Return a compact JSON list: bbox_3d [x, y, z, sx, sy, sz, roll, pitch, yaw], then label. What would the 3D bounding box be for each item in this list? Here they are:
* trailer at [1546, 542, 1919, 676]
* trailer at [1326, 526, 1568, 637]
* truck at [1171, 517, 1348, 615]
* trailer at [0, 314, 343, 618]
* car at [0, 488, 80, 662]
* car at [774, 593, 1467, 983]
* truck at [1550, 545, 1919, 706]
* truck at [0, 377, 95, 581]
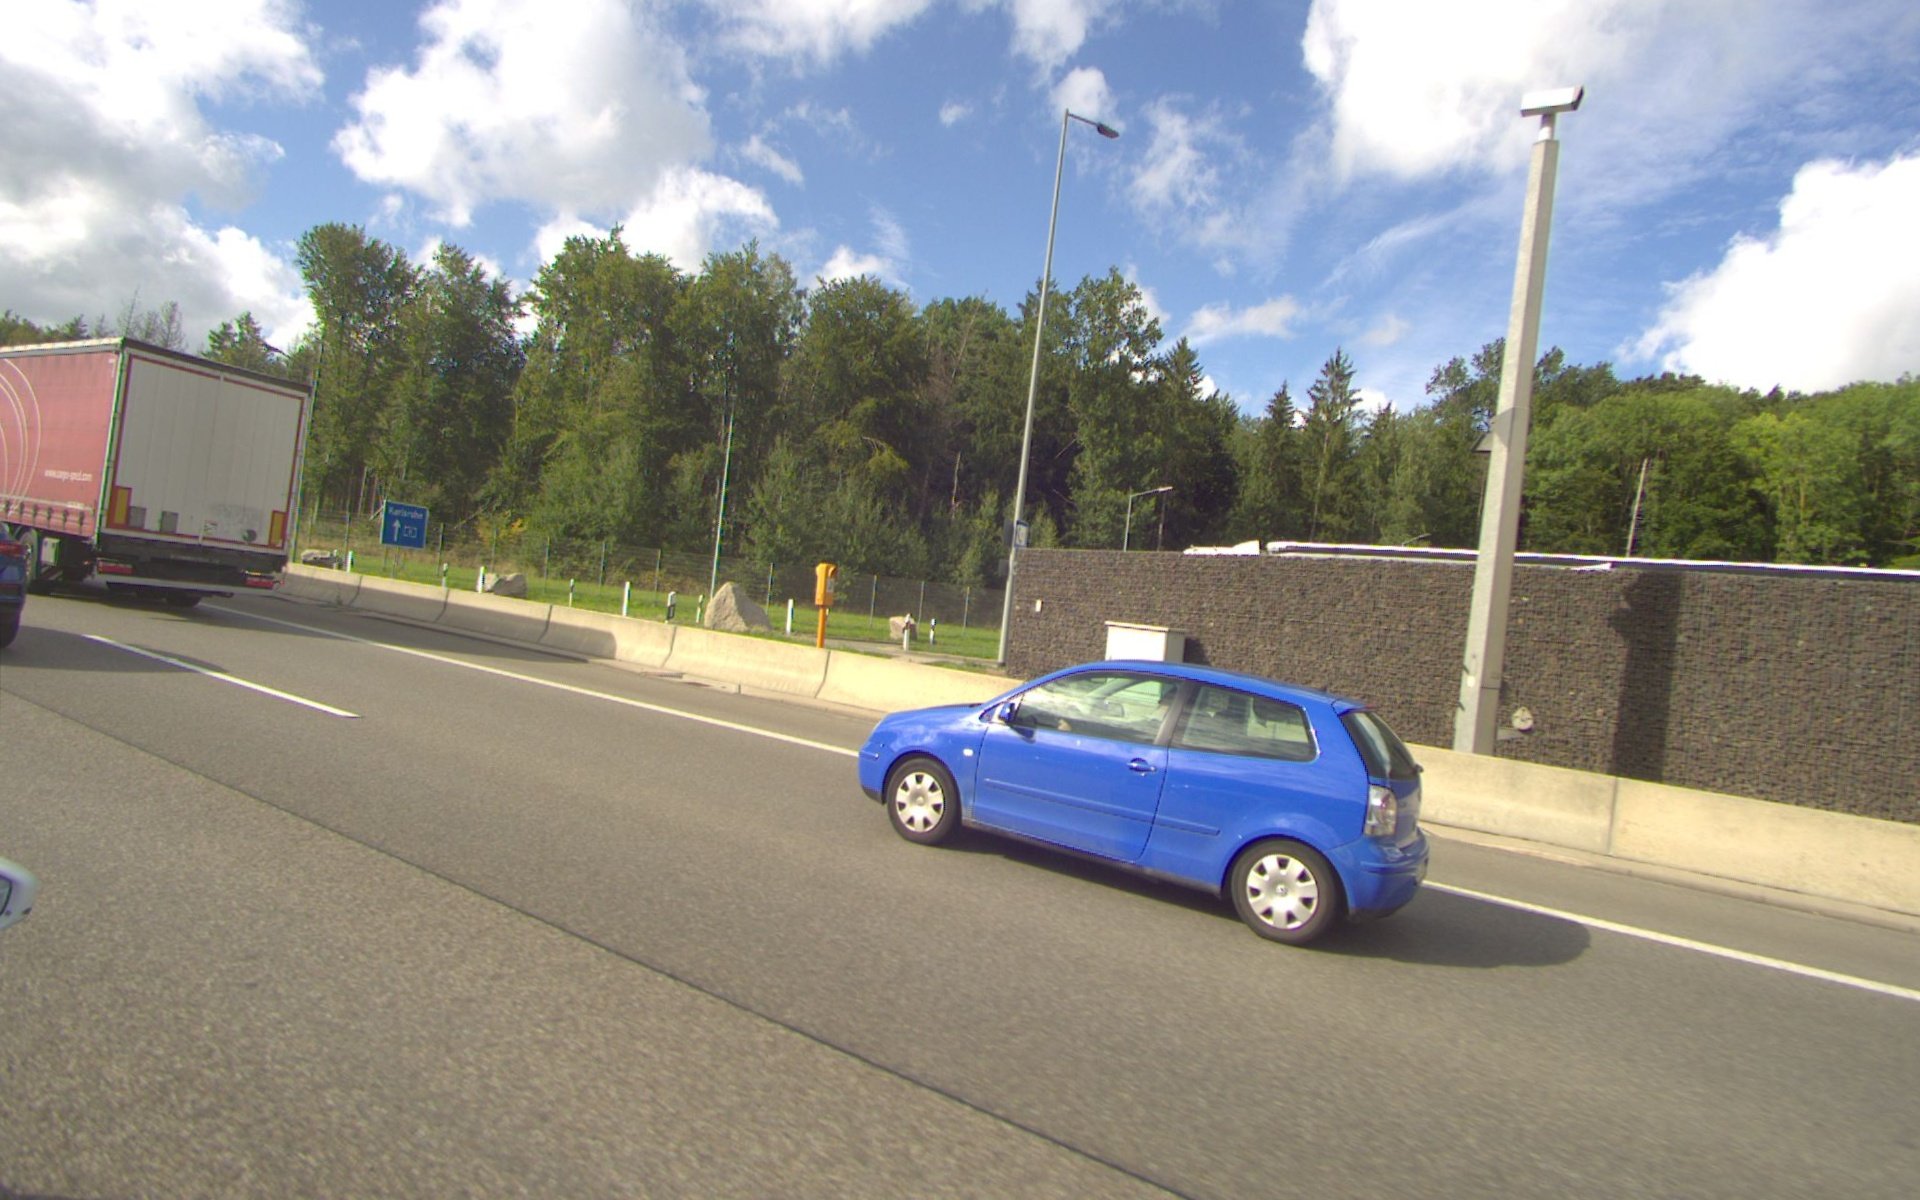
[{"bbox_3d":[16.986,0.174,21.735,7.159,2.038,2.135,7,0,27],"label":"trailer"},{"bbox_3d":[11.749,-0.457,24.505,4.887,2.038,2.206,7,0,27],"label":"trailer"},{"bbox_3d":[7.898,-0.893,26.491,3.930,2.038,2.220,7,0,27],"label":"truck"},{"bbox_3d":[-17.160,-2.348,19.151,13.662,4.081,3.044,5,-2,32],"label":"trailer"},{"bbox_3d":[-10.966,-0.500,10.005,4.568,1.558,1.929,6,-3,31],"label":"car"},{"bbox_3d":[0.970,1.029,6.917,4.231,1.528,1.719,7,-2,32],"label":"car"},{"bbox_3d":[12.523,0.379,15.880,5.321,2.037,1.996,4,-3,33],"label":"truck"},{"bbox_3d":[-22.875,-2.828,22.692,5.970,4.110,3.086,5,-2,31],"label":"truck"}]
